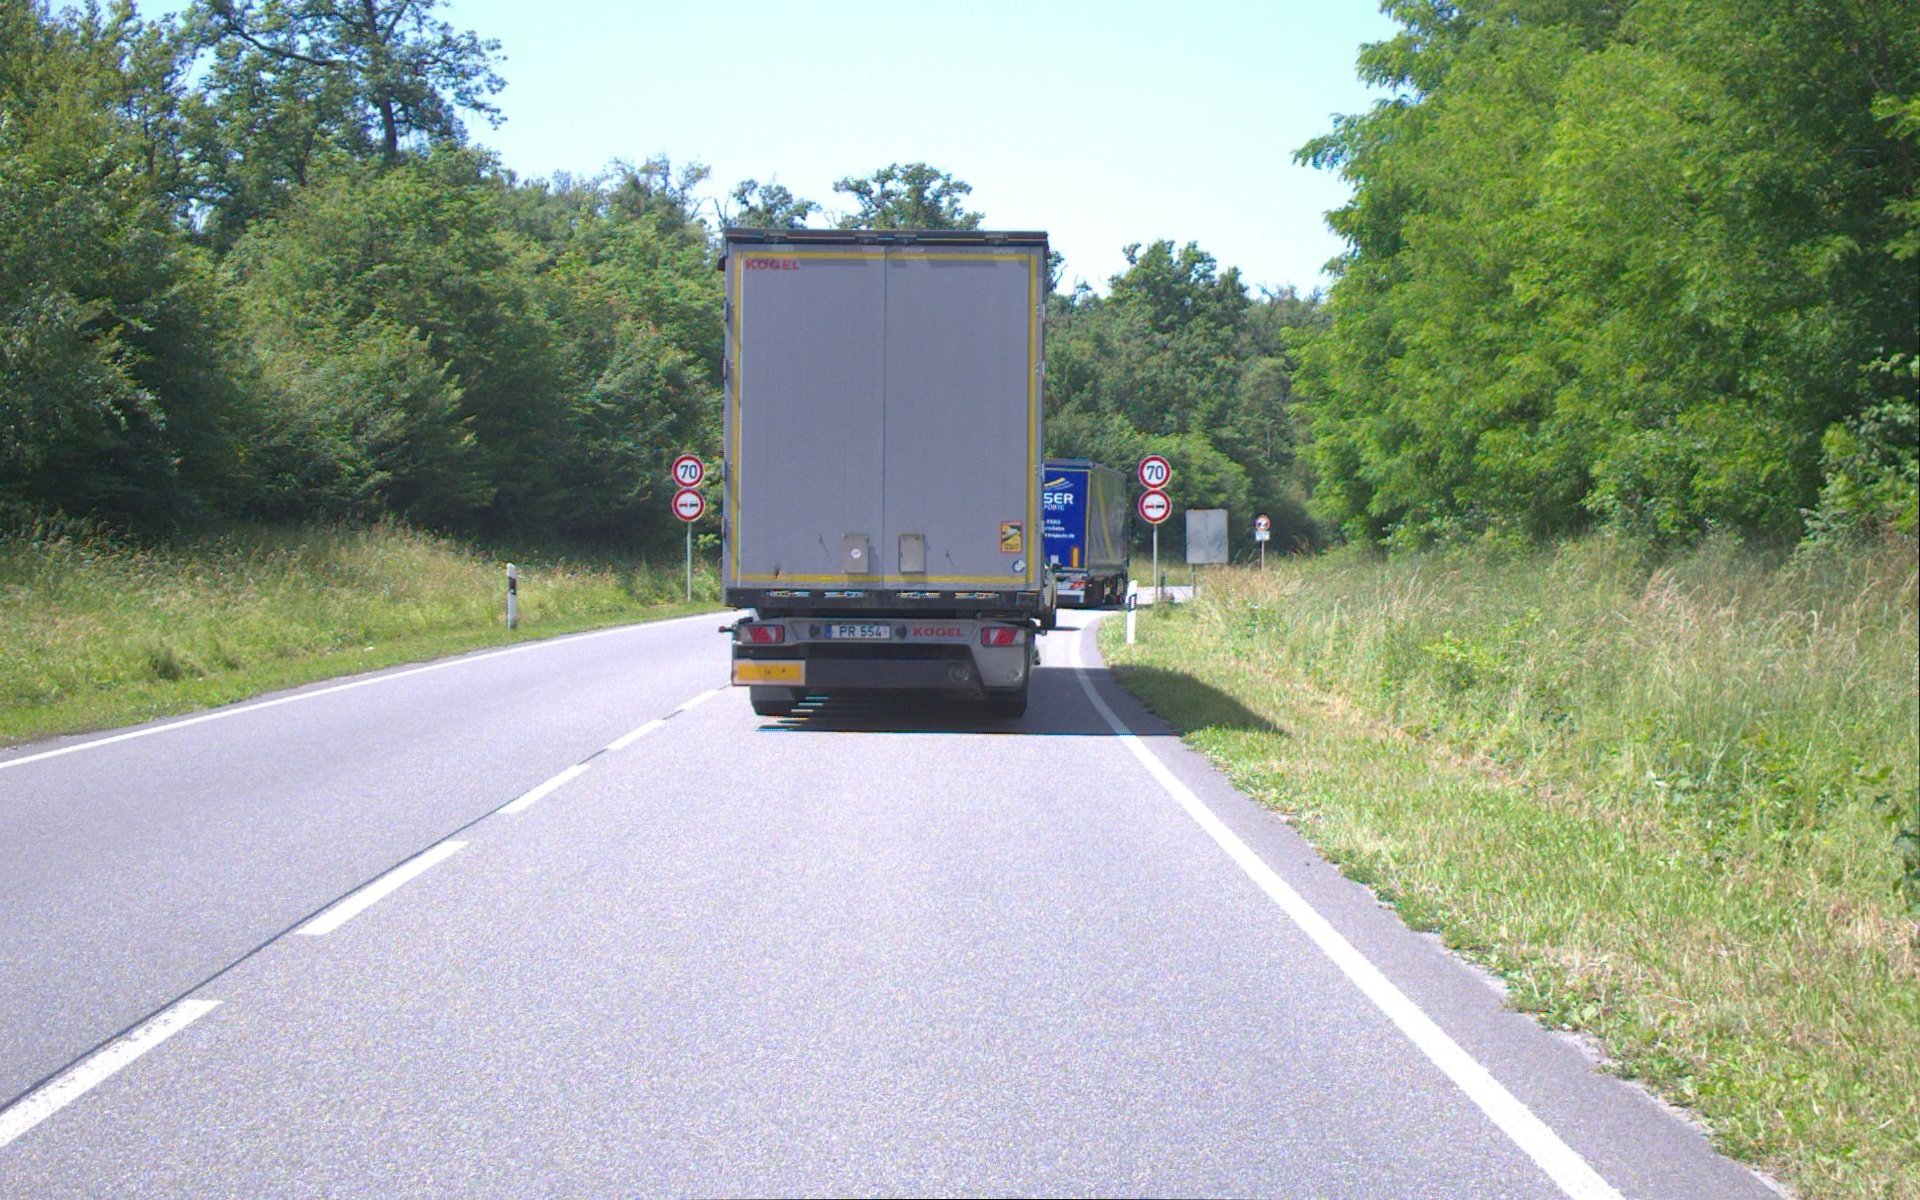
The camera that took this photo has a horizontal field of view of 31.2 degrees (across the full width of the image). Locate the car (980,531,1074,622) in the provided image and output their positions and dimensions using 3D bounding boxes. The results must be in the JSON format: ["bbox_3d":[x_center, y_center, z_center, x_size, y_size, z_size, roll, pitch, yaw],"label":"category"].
[{"bbox_3d":[1.283,-0.482,66.836,1.770,1.703,4.000,0,1,1],"label":"car"}]

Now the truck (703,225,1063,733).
[{"bbox_3d":[-0.615,-1.078,33.089,2.761,3.933,12.198,1,1,0],"label":"truck"}]

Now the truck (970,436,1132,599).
[{"bbox_3d":[2.805,-2.363,99.549,3.794,4.358,14.918,0,1,5],"label":"truck"}]
